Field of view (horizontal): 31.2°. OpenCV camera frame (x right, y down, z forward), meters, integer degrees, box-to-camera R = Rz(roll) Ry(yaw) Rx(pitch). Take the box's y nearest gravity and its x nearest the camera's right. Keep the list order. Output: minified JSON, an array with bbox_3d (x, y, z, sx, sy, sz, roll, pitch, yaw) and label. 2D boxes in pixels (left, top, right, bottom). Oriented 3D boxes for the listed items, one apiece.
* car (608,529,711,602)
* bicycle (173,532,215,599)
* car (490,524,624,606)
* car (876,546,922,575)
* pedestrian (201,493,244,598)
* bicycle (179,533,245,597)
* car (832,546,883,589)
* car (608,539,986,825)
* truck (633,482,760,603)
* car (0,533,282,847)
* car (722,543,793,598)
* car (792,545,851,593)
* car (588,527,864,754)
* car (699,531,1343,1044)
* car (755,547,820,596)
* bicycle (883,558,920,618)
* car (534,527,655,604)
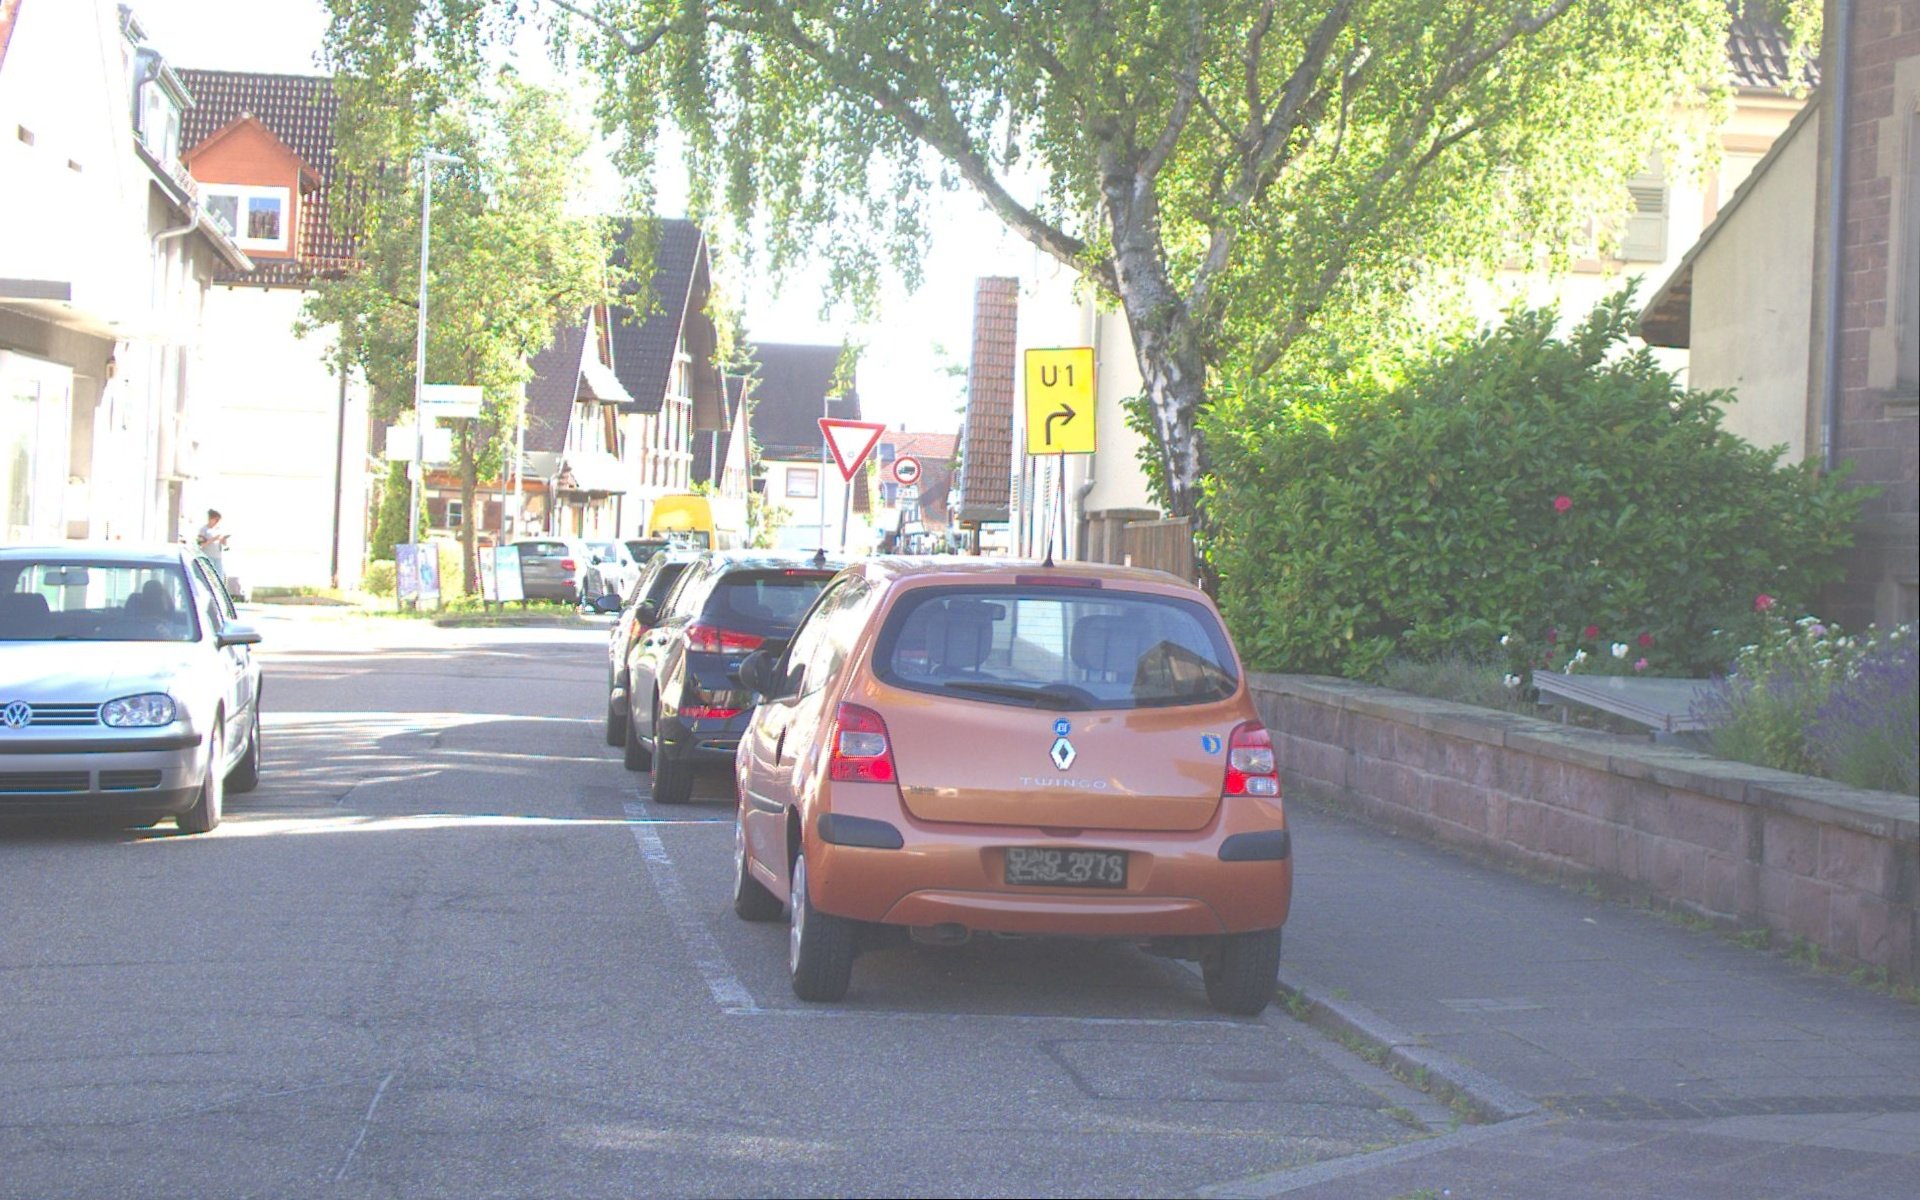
[{"bbox_3d":[-7.113,-0.804,81.699,1.807,1.616,3.880,3,0,4],"label":"car"},{"bbox_3d":[-12.484,-0.555,56.050,0.423,1.049,1.381,2,0,-4],"label":"bicycle"},{"bbox_3d":[-7.981,-0.677,68.402,1.867,1.500,4.107,3,0,4],"label":"car"},{"bbox_3d":[-3.593,-2.324,202.251,1.972,1.577,3.996,3,1,-10],"label":"car"},{"bbox_3d":[-12.064,-0.885,56.241,0.483,1.687,0.557,3,-1,-1],"label":"pedestrian"},{"bbox_3d":[-12.927,-0.589,59.442,0.578,1.049,2.036,2,0,2],"label":"bicycle"},{"bbox_3d":[-3.605,-1.149,121.375,1.588,1.438,3.615,3,1,1],"label":"car"},{"bbox_3d":[-1.101,0.416,20.941,1.807,1.431,4.287,3,1,-9],"label":"car"},{"bbox_3d":[-6.643,-1.417,87.279,2.268,2.858,5.782,3,0,4],"label":"truck"},{"bbox_3d":[-4.539,0.381,17.795,1.670,1.398,3.893,1,1,-6],"label":"car"},{"bbox_3d":[-5.650,-0.837,96.241,1.645,1.428,3.615,3,1,1],"label":"car"},{"bbox_3d":[-4.397,-0.991,109.476,1.588,1.438,3.615,3,1,1],"label":"car"},{"bbox_3d":[-1.769,0.234,25.625,1.807,1.431,4.286,3,1,-5],"label":"car"},{"bbox_3d":[0.050,0.550,12.559,1.648,1.473,3.935,3,1,-9],"label":"car"},{"bbox_3d":[-5.044,-0.841,100.852,1.588,1.331,3.615,3,1,1],"label":"car"},{"bbox_3d":[-1.194,-0.247,69.983,0.433,1.172,1.828,3,1,8],"label":"bicycle"},{"bbox_3d":[-7.701,-0.717,72.785,1.807,1.500,4.107,3,0,4],"label":"car"}]
